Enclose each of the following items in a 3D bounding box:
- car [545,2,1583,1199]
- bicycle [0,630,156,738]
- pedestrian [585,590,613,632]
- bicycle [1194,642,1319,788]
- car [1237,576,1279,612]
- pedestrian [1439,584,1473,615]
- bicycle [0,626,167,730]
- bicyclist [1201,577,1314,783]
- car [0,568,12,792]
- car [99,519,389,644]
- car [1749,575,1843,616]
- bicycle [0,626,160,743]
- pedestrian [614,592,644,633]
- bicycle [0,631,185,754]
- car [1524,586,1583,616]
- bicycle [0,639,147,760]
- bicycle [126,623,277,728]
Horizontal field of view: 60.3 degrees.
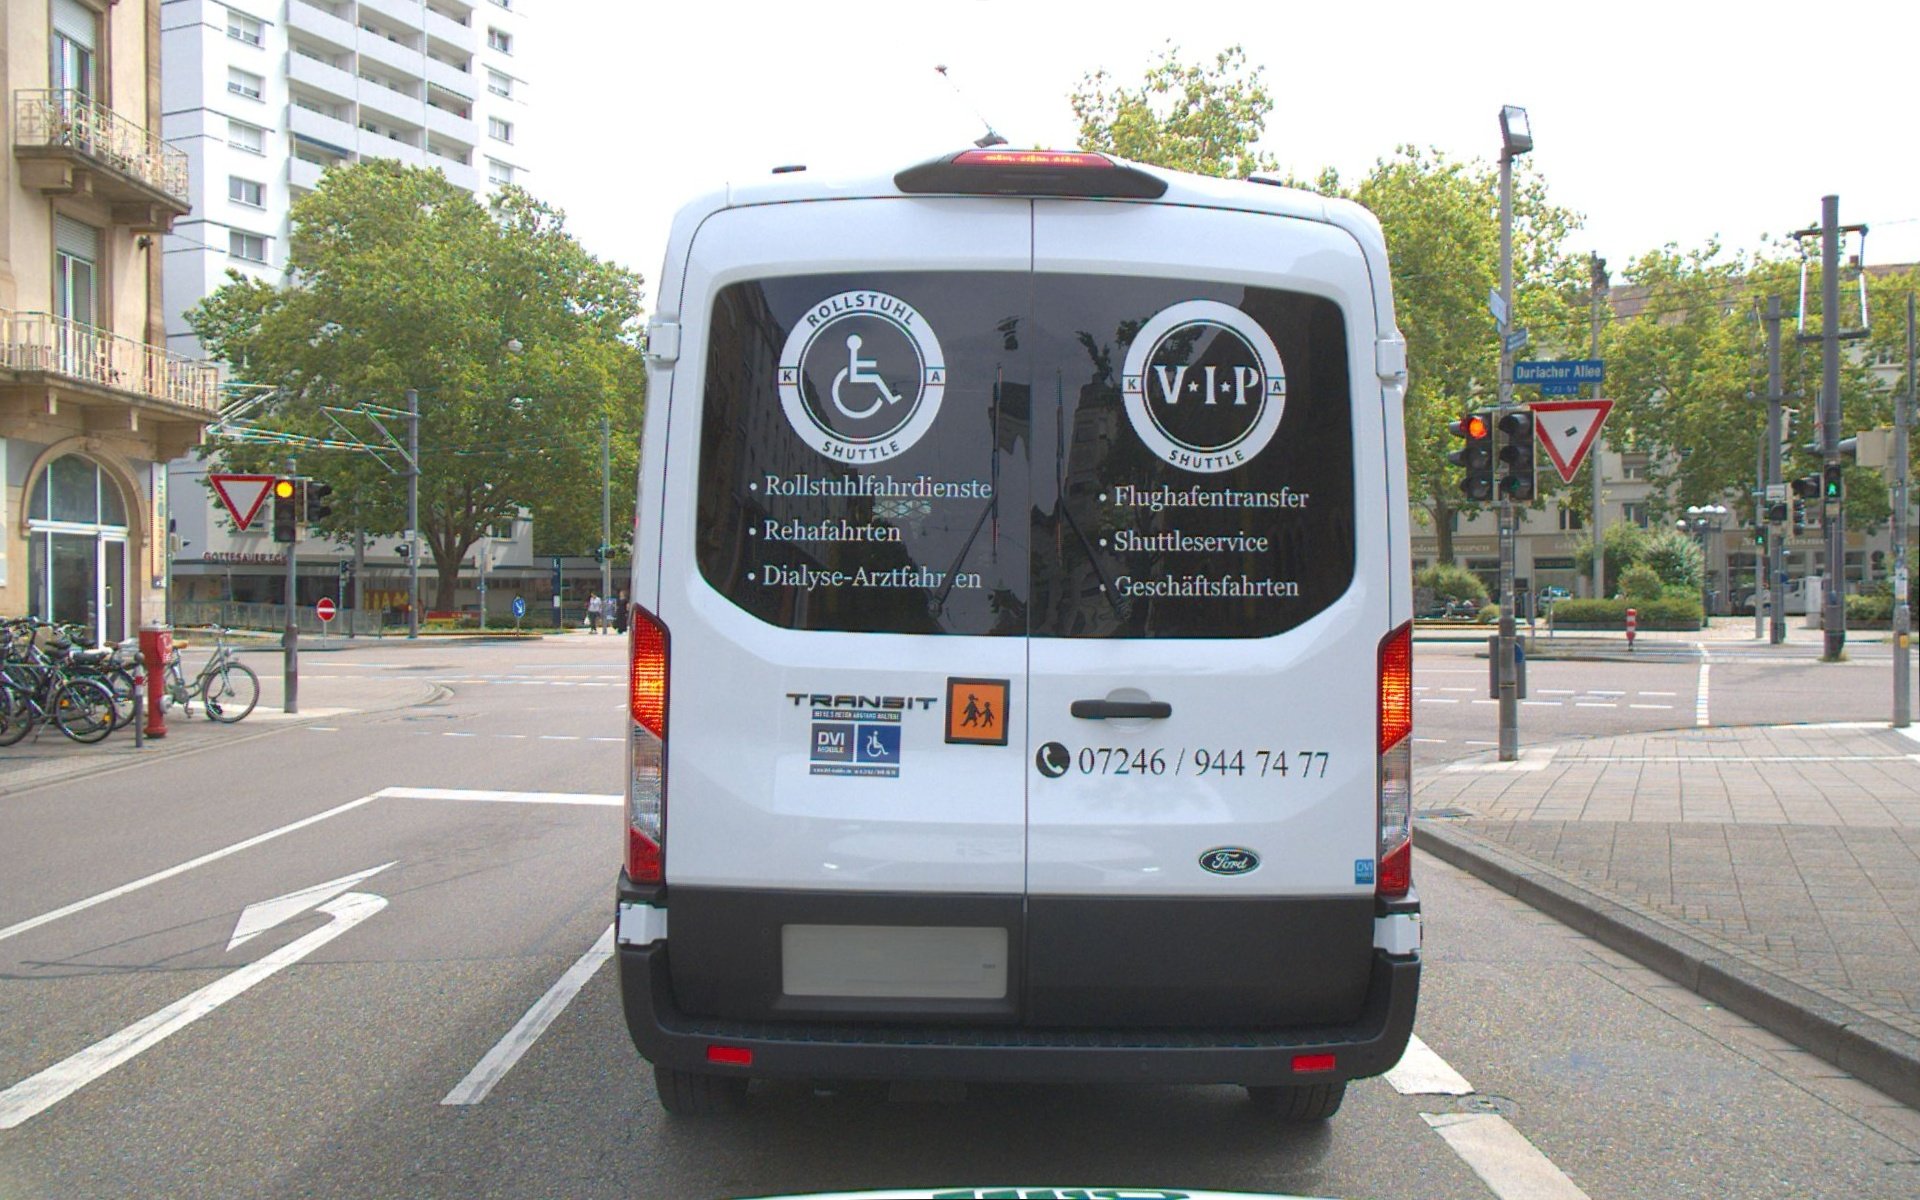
[{"bbox_3d":[0.146,0.086,5.794,2.138,2.694,4.627,1,1,-2],"label":"car"},{"bbox_3d":[-9.998,0.927,18.390,1.775,1.140,0.593,2,0,-9],"label":"bicycle"},{"bbox_3d":[-13.752,0.407,63.026,0.790,1.600,0.724,0,0,13],"label":"pedestrian"},{"bbox_3d":[2.579,0.942,14.208,0.883,1.094,1.971,0,0,15],"label":"bicycle"},{"bbox_3d":[17.126,-0.352,95.191,1.951,1.964,4.002,-1,0,4],"label":"car"},{"bbox_3d":[21.214,-0.021,70.737,1.068,1.257,1.441,-2,-1,4],"label":"pedestrian"},{"bbox_3d":[-10.211,0.894,19.084,1.775,1.140,0.593,2,0,-9],"label":"bicycle"},{"bbox_3d":[2.562,0.661,14.201,0.884,1.713,0.757,0,0,15],"label":"bicyclist"},{"bbox_3d":[-9.765,0.667,12.809,3.974,1.804,1.771,-1,1,-40],"label":"car"},{"bbox_3d":[-24.505,-0.593,56.512,9.686,3.984,3.454,0,0,24],"label":"car"},{"bbox_3d":[39.936,-0.205,79.107,3.907,1.916,1.857,-1,0,24],"label":"car"},{"bbox_3d":[-9.667,0.900,17.783,1.775,1.186,0.593,2,0,-9],"label":"bicycle"},{"bbox_3d":[-12.578,0.467,62.868,0.910,1.541,0.724,0,0,14],"label":"pedestrian"},{"bbox_3d":[-9.041,0.941,17.055,1.771,1.140,0.594,3,0,3],"label":"bicycle"},{"bbox_3d":[31.759,0.025,88.674,1.951,1.529,4.002,-1,0,4],"label":"car"},{"bbox_3d":[-9.077,0.980,16.383,1.771,1.140,0.594,-1,0,6],"label":"bicycle"},{"bbox_3d":[-9.278,0.900,20.215,1.836,1.187,0.498,2,0,20],"label":"bicycle"}]
